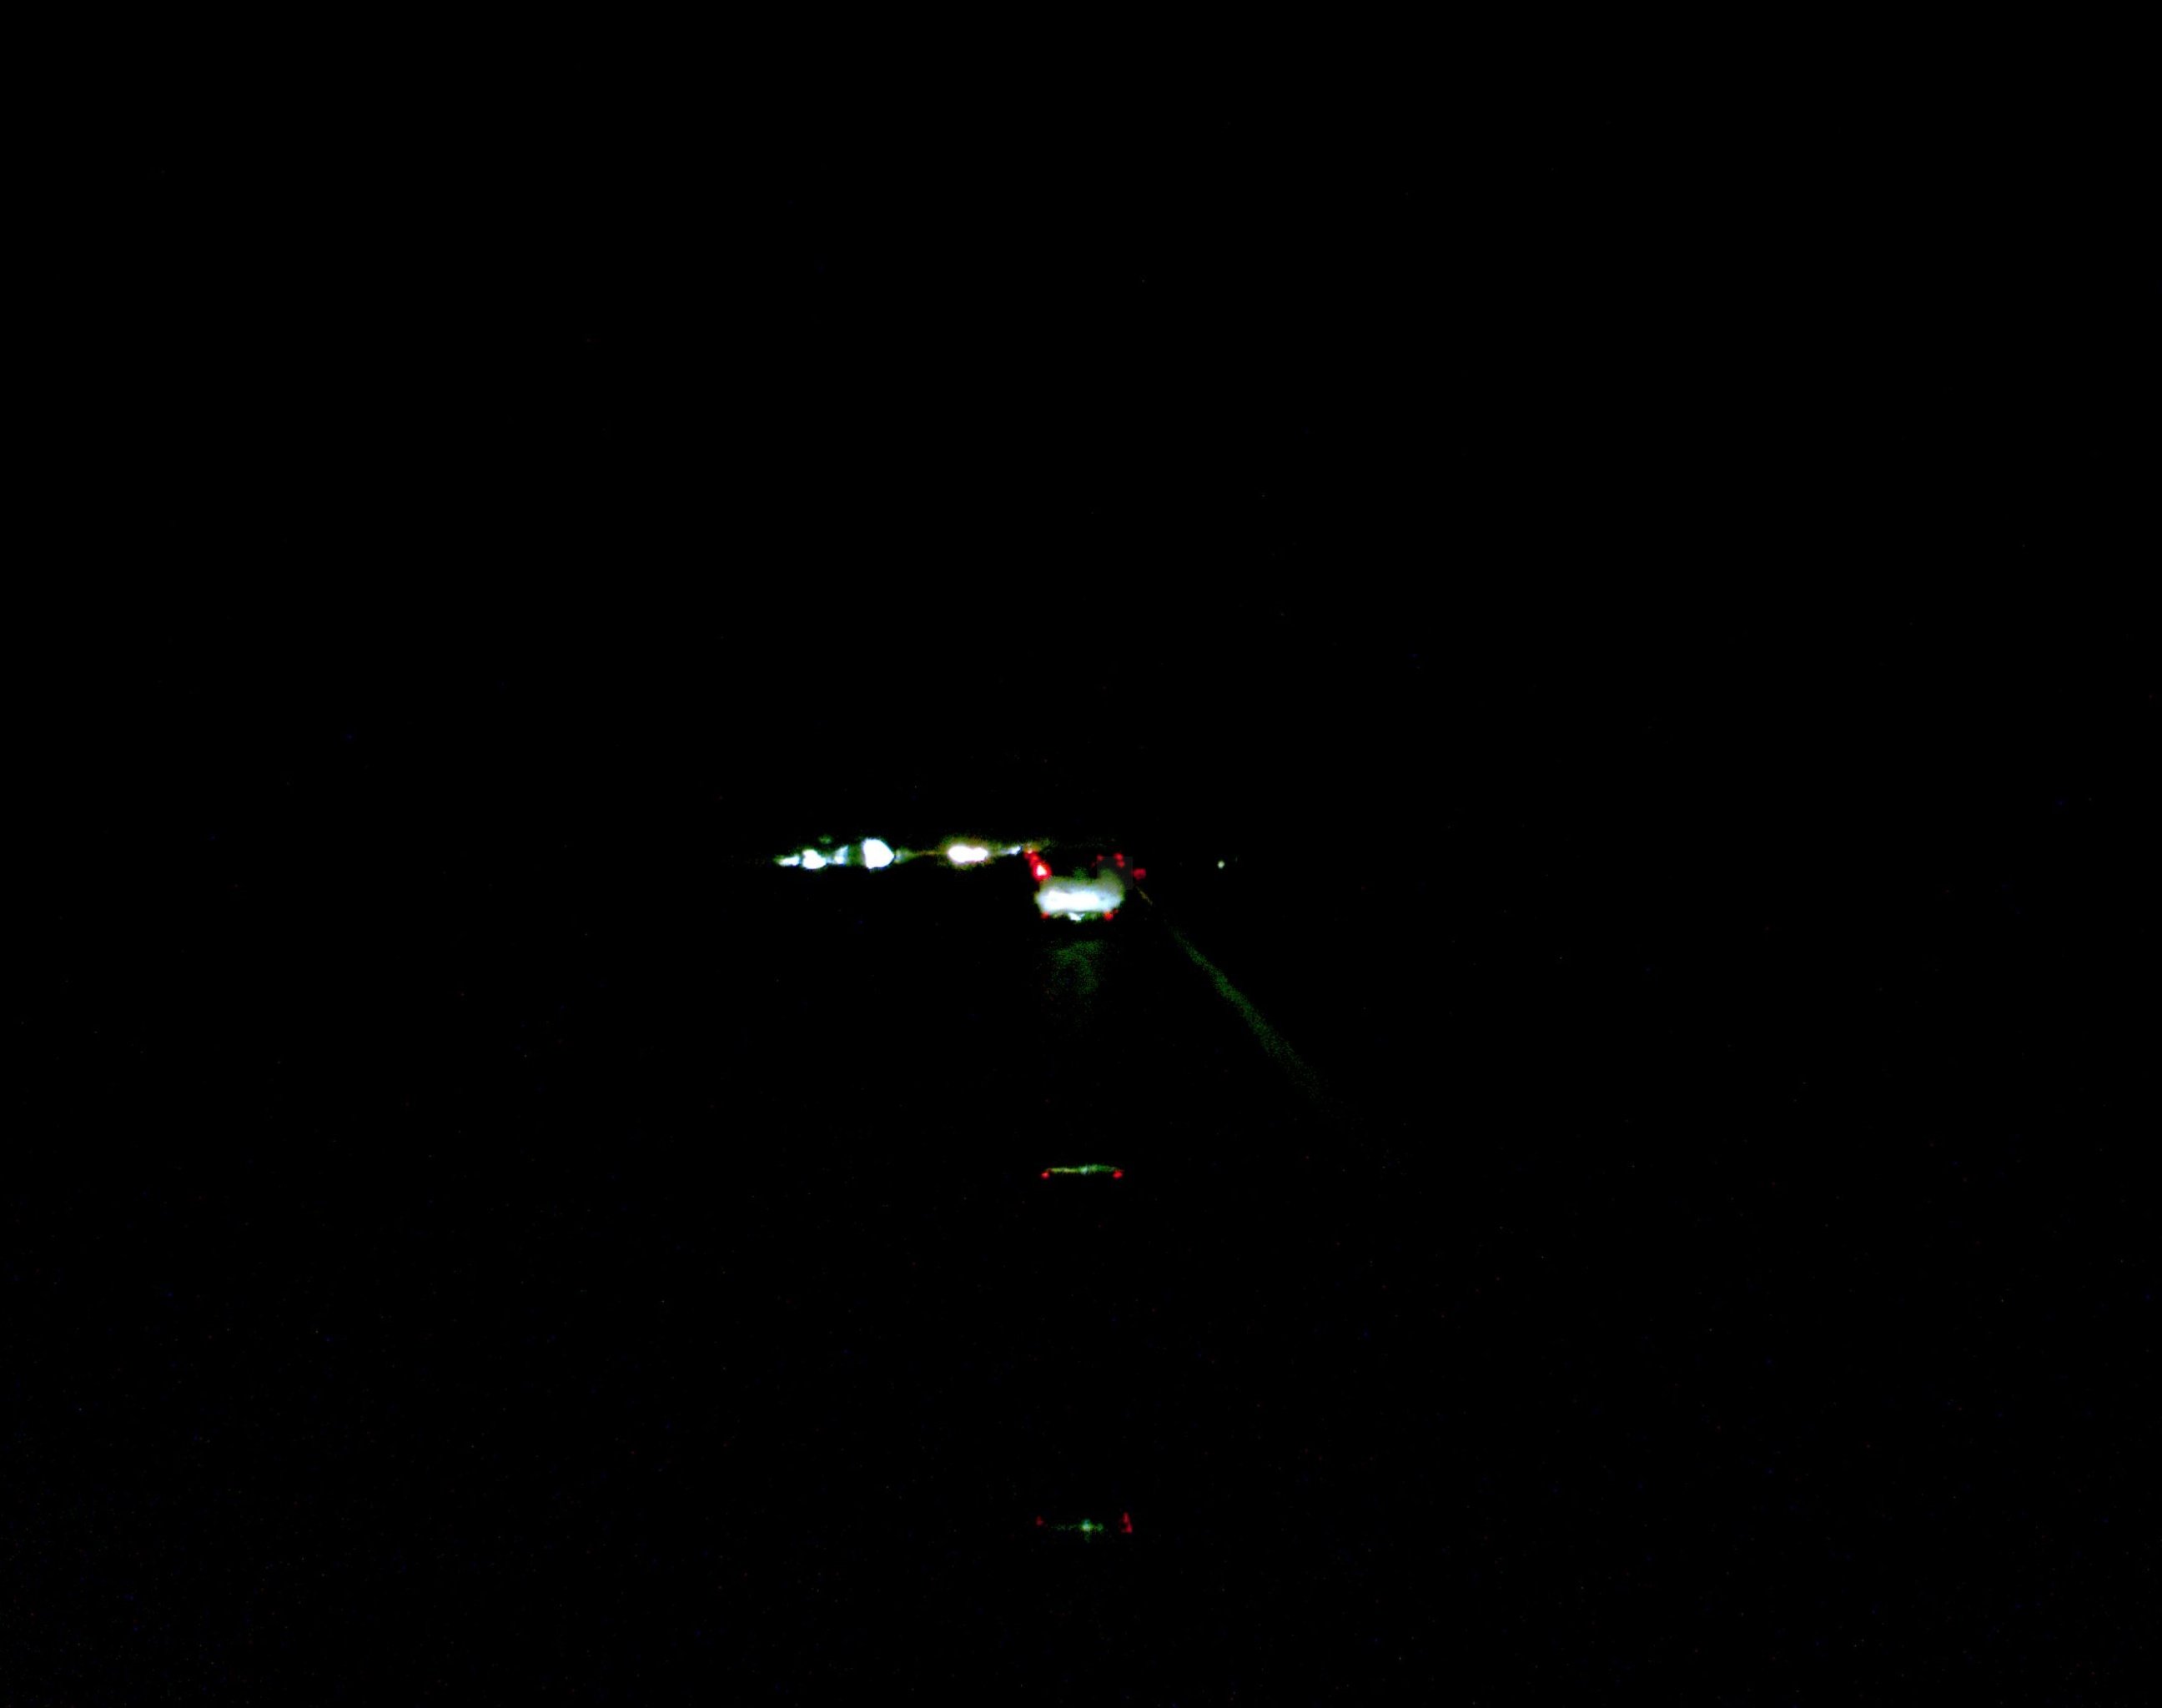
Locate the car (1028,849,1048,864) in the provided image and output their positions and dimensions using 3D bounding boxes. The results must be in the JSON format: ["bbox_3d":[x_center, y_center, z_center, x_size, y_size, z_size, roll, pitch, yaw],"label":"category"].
[{"bbox_3d":[-5.398,0.311,102.848,1.986,1.706,4.197,6,1,1],"label":"car"}]

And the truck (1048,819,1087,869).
[{"bbox_3d":[-1.491,-1.100,98.417,4.152,5.544,13.077,0,0,1],"label":"truck"}]

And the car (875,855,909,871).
[{"bbox_3d":[-18.342,0.874,79.305,1.965,1.464,4.899,2,0,1],"label":"car"}]

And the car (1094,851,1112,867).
[{"bbox_3d":[2.425,0.515,90.161,1.987,1.707,4.196,0,0,1],"label":"car"}]

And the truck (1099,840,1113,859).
[{"bbox_3d":[6.664,-1.236,218.878,3.810,4.915,11.608,1,0,1],"label":"truck"}]

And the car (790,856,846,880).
[{"bbox_3d":[-18.059,0.941,56.281,1.965,1.464,5.371,2,0,1],"label":"car"}]

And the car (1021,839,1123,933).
[{"bbox_3d":[-0.084,0.618,18.161,1.945,1.792,5.126,0,0,2],"label":"car"}]
